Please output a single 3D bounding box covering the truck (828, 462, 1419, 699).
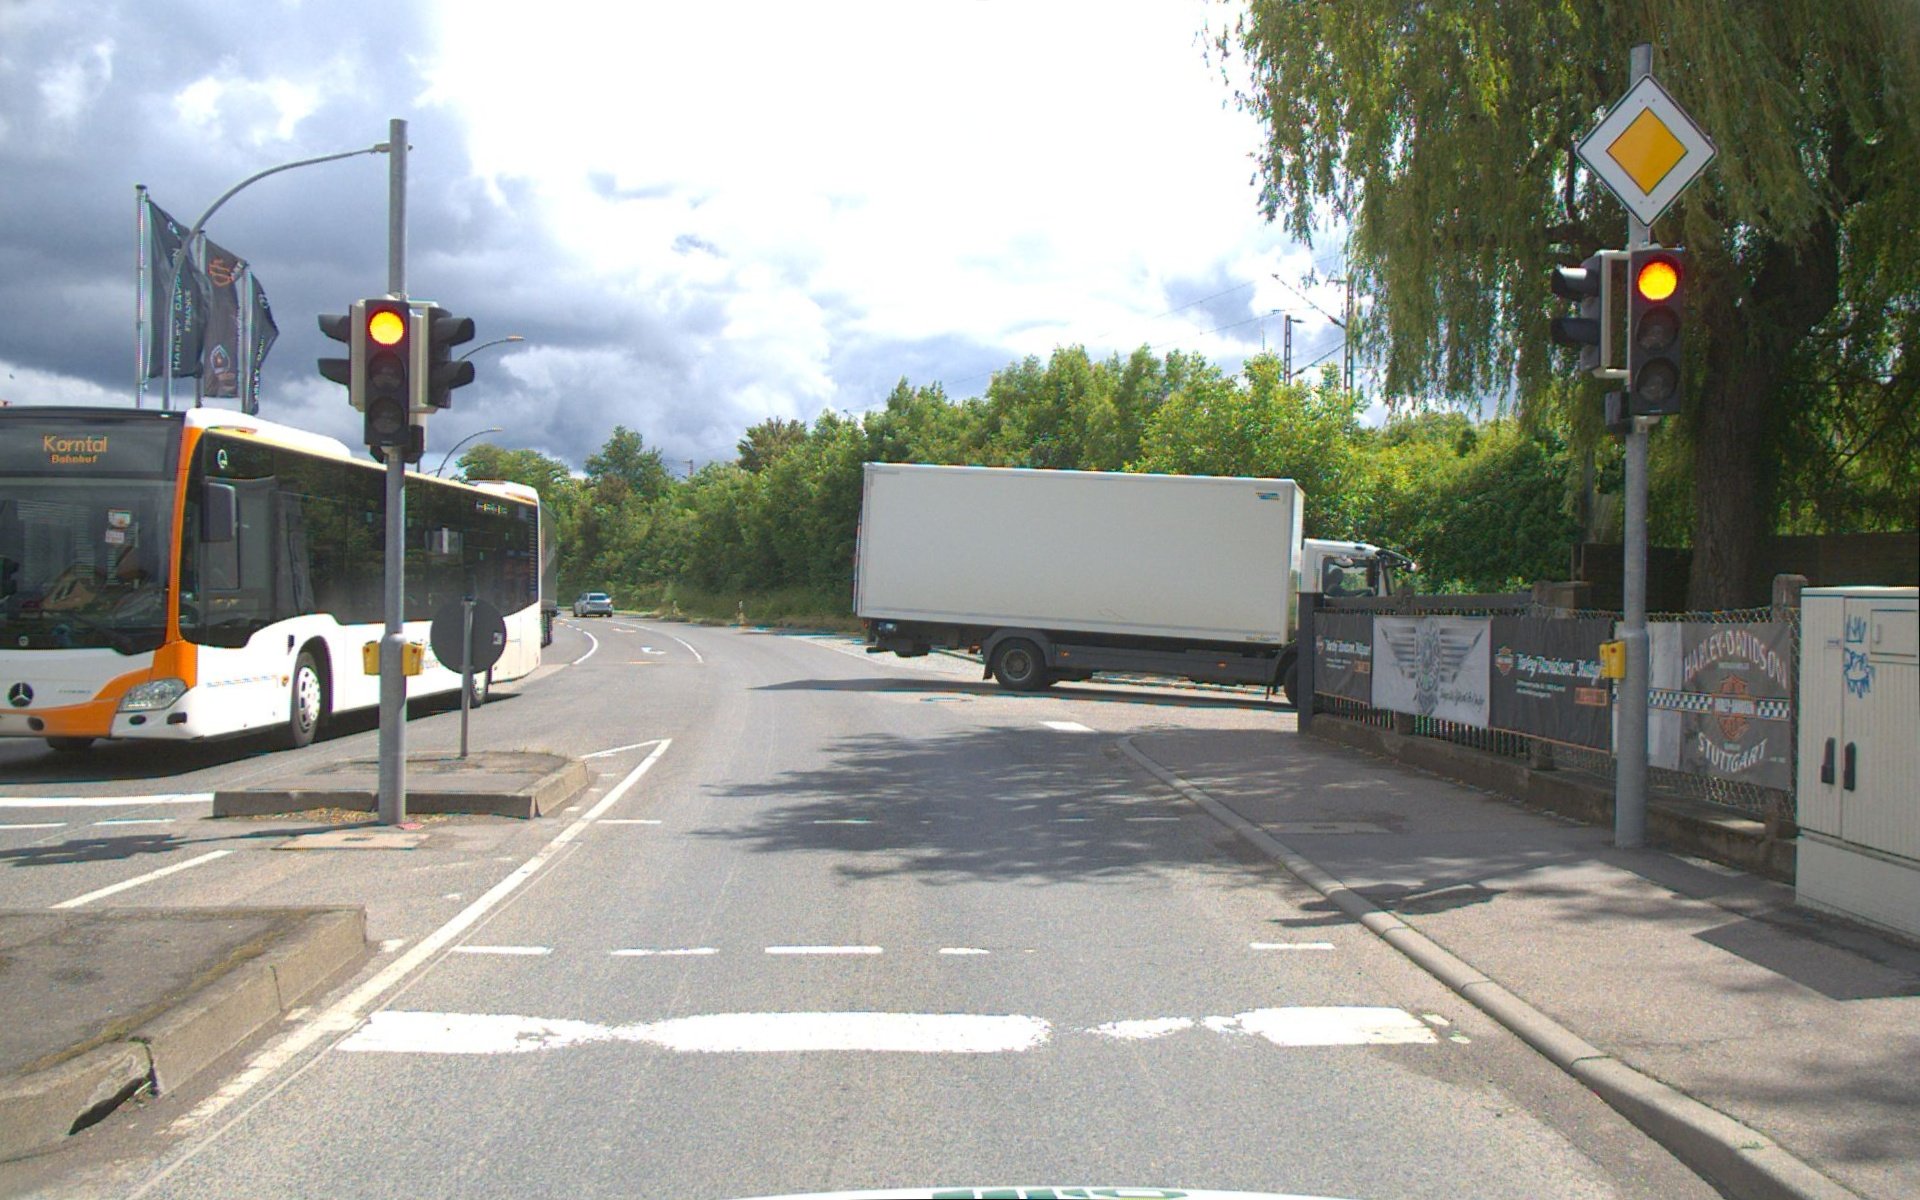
[{"bbox_3d":[2.759,-0.375,27.831,9.487,3.602,2.851,1,0,16],"label":"truck"}]

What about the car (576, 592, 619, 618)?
[{"bbox_3d":[-22.095,0.297,100.747,1.859,1.535,3.971,1,0,-23],"label":"car"}]

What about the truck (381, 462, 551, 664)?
[{"bbox_3d":[-11.711,-0.781,40.013,2.383,4.203,9.133,3,0,-8],"label":"truck"}]

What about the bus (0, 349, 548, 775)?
[{"bbox_3d":[-7.501,-0.290,18.961,2.721,3.323,12.120,0,0,-1],"label":"bus"}]
